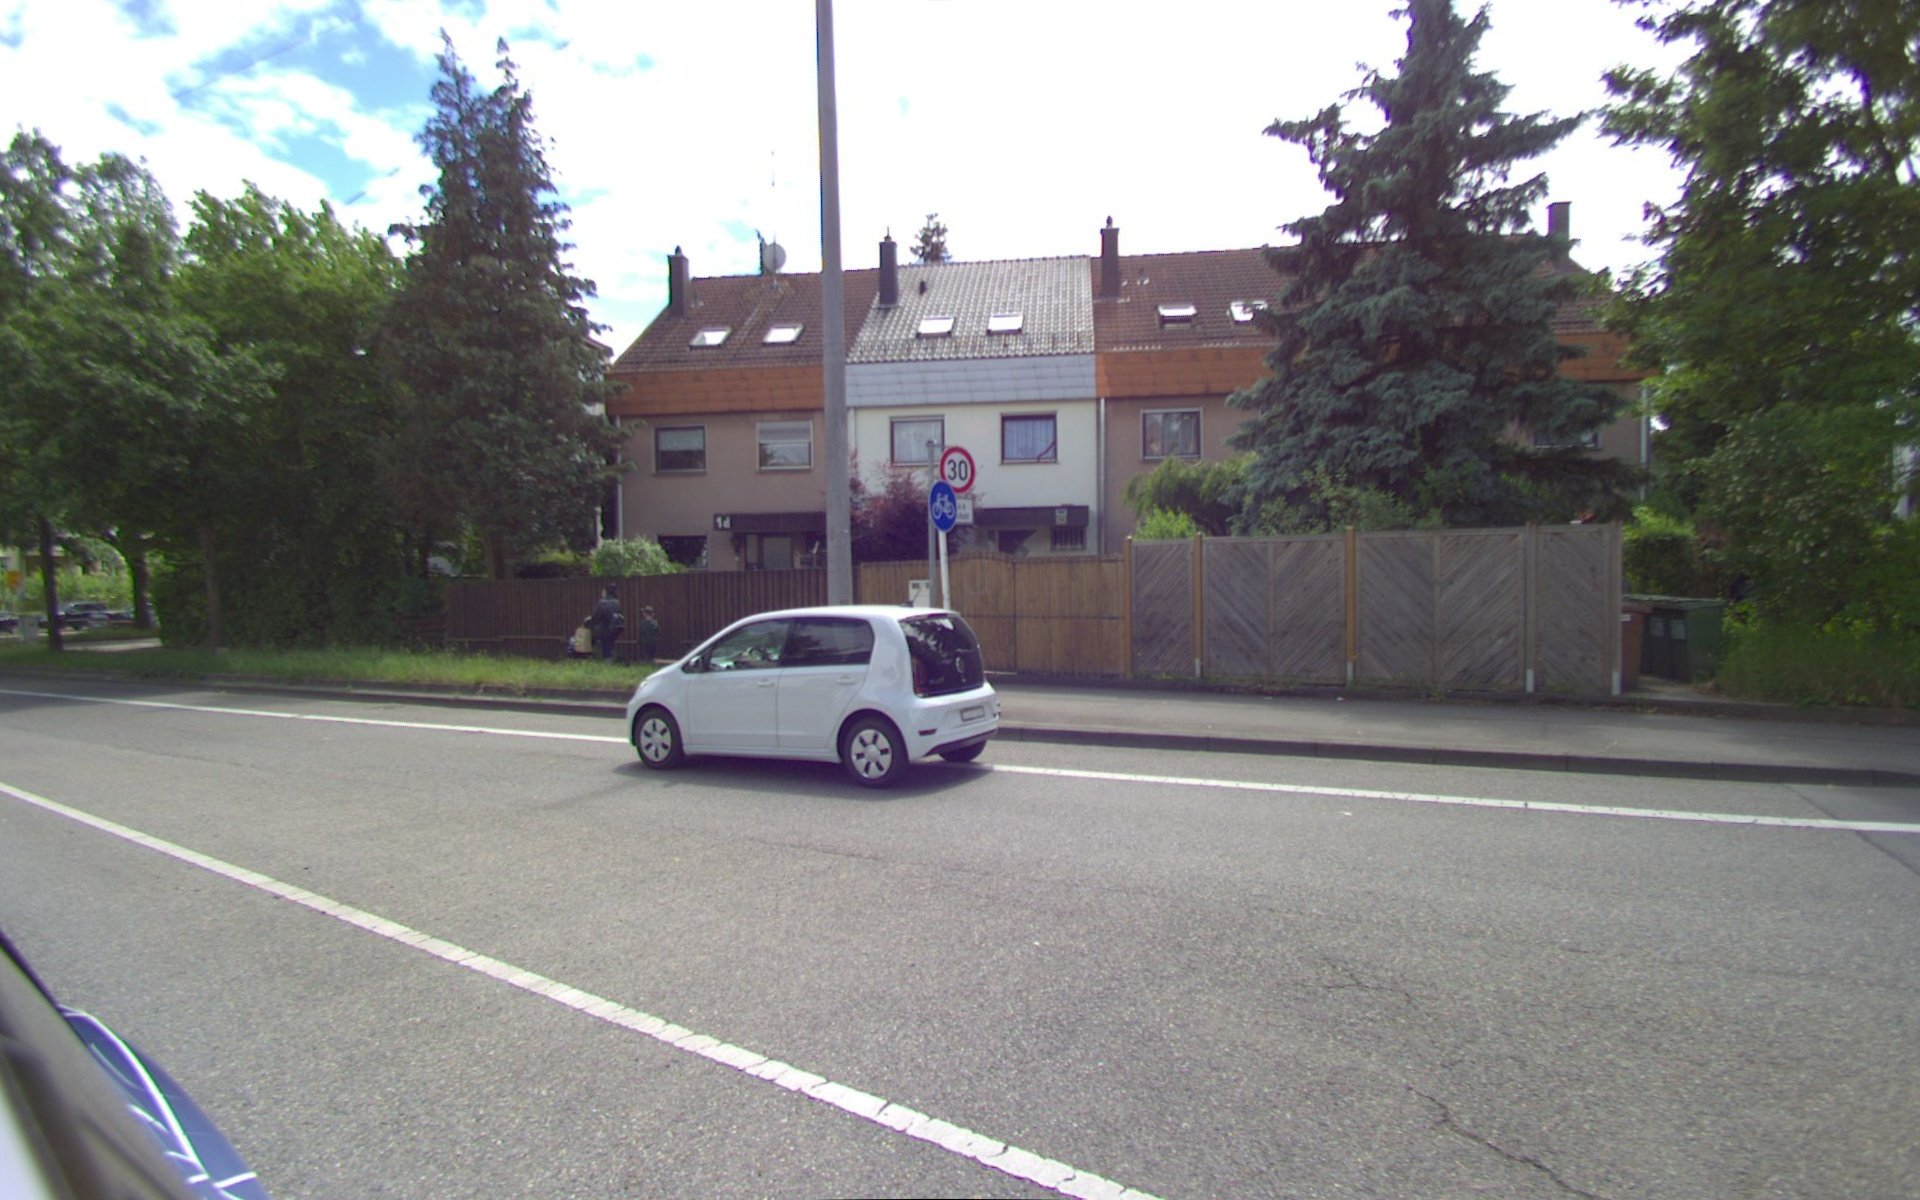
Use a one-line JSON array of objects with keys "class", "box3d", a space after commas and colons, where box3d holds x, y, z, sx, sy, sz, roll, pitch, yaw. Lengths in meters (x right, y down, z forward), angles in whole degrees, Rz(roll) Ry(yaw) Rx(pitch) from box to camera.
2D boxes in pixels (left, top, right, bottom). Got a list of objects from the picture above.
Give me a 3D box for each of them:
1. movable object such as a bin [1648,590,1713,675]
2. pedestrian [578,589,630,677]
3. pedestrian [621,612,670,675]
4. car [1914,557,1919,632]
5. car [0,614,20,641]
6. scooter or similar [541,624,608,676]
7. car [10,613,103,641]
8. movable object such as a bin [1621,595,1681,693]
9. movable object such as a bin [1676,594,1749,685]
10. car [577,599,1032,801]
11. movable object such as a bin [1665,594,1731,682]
[{"class": "movable object such as a bin", "box3d": [8.532, 0.382, 11.991, 0.522, 0.985, 0.376, -1, 0, 20]}, {"class": "pedestrian", "box3d": [-6.190, 0.560, 17.591, 0.640, 1.492, 0.550, -1, 1, 35]}, {"class": "pedestrian", "box3d": [-5.693, 0.786, 18.328, 0.640, 1.094, 0.550, -1, 1, 35]}, {"class": "car", "box3d": [20.018, -0.126, 18.877, 1.878, 1.545, 3.970, -1, 0, 22]}, {"class": "car", "box3d": [-56.862, 1.670, 58.022, 1.976, 1.519, 3.992, -2, 1, 7]}, {"class": "scooter or similar", "box3d": [-6.886, 0.881, 18.062, 1.028, 0.871, 0.630, -1, 1, 36]}, {"class": "car", "box3d": [-56.337, 1.672, 63.209, 1.977, 1.519, 3.989, -2, 1, 9]}, {"class": "movable object such as a bin", "box3d": [7.401, 0.463, 10.854, 0.494, 1.018, 0.472, -1, 0, 32]}, {"class": "movable object such as a bin", "box3d": [8.350, 0.432, 11.240, 0.543, 0.985, 0.370, -1, 0, 20]}, {"class": "car", "box3d": [-1.492, 0.786, 9.380, 3.982, 1.524, 1.682, -1, 0, 29]}, {"class": "movable object such as a bin", "box3d": [8.456, 0.431, 11.603, 0.522, 0.985, 0.332, -1, 0, 20]}]
